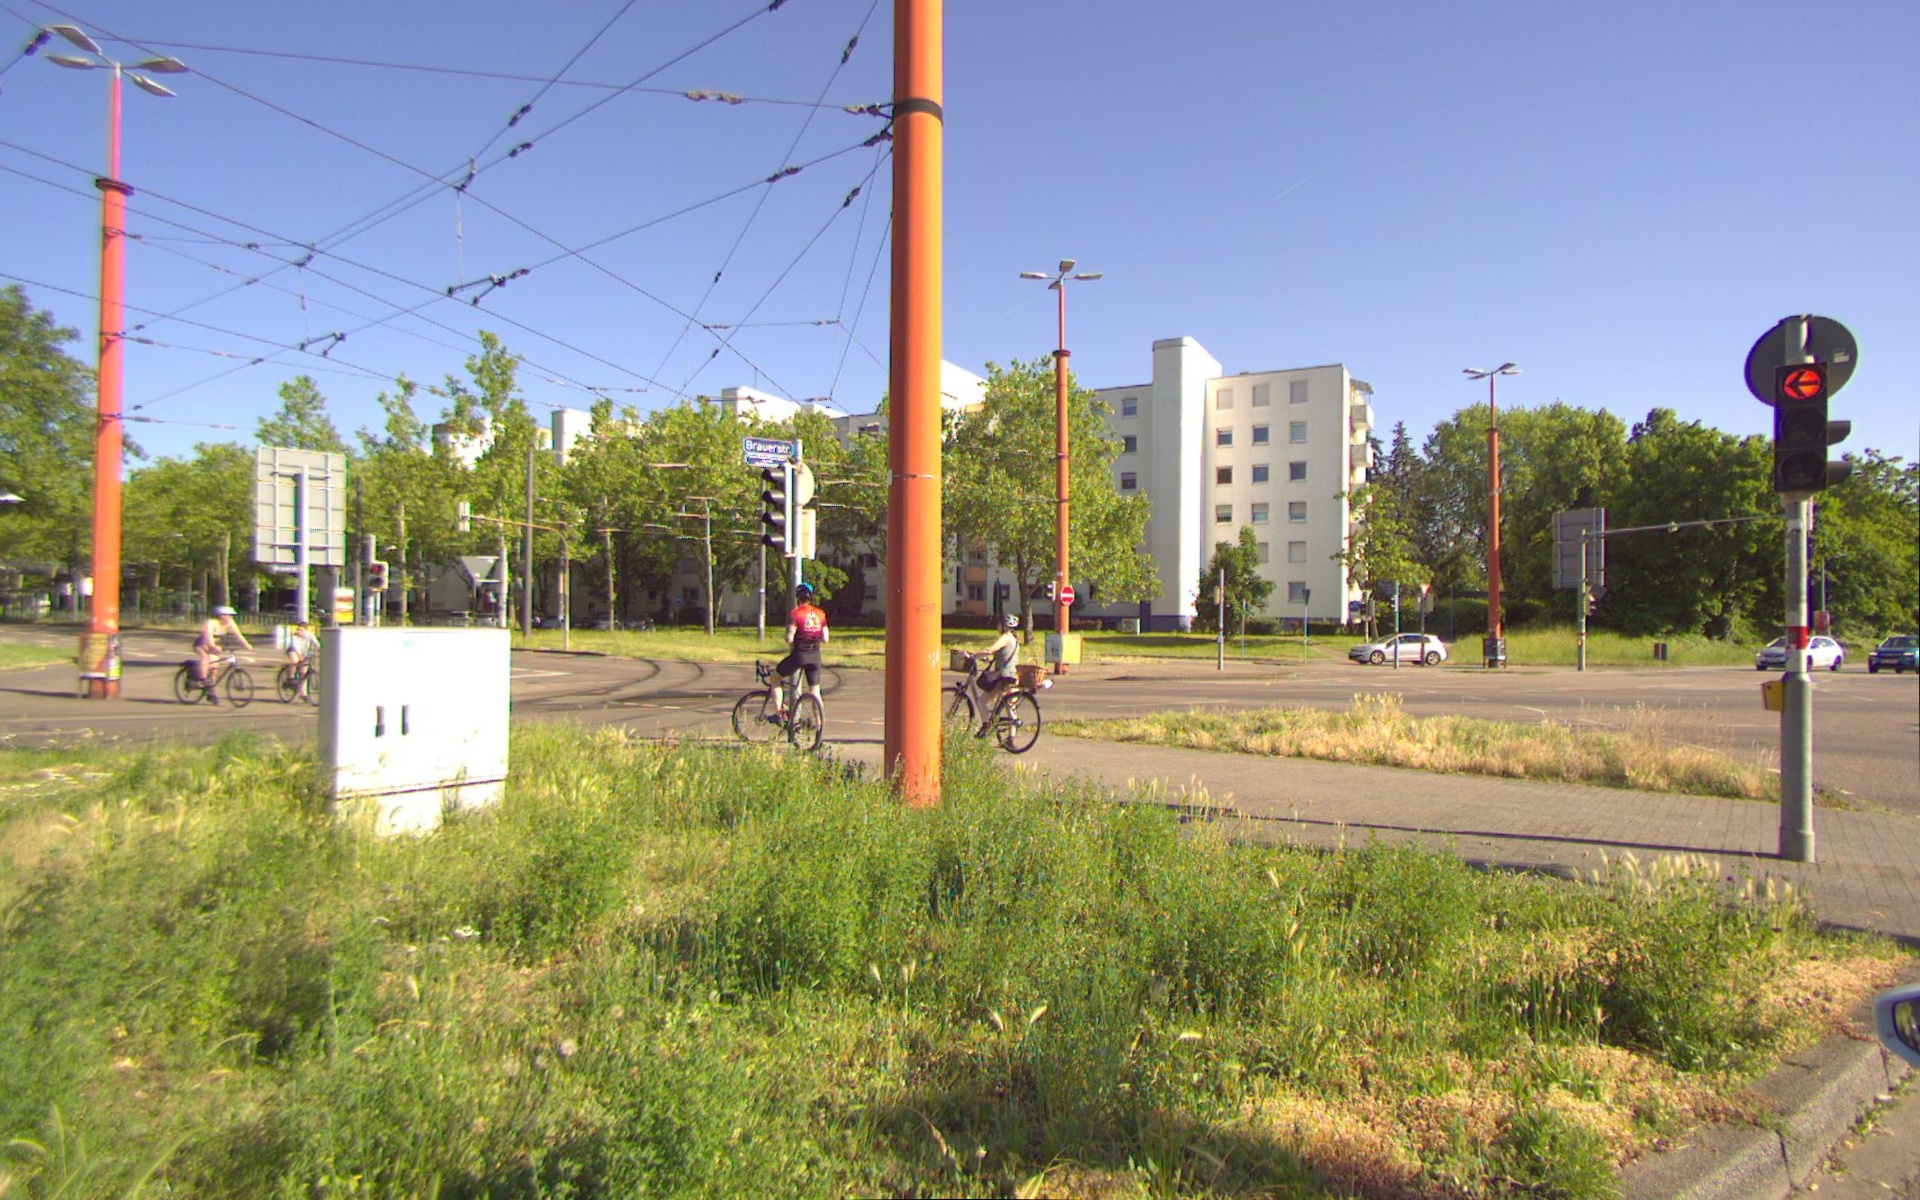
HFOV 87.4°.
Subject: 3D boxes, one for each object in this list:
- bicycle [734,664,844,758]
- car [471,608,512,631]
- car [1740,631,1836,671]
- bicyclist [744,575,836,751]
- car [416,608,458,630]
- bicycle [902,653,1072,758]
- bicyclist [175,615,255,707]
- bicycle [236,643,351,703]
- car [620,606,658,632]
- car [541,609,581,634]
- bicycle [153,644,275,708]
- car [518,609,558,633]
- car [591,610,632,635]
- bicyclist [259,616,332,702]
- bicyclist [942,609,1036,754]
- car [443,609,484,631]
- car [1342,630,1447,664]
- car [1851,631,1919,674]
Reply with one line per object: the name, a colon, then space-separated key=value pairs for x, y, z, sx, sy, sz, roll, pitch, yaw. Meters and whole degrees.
bicycle: x=-2.115 y=1.302 z=12.242 sx=0.915 sy=0.976 sz=1.747 roll=1 pitch=-1 yaw=-24
car: x=-39.282 y=1.633 z=84.333 sx=1.963 sy=1.840 sz=3.995 roll=1 pitch=-1 yaw=-8
car: x=35.145 y=2.151 z=42.611 sx=4.075 sy=1.594 sz=1.983 roll=1 pitch=-1 yaw=-32
bicyclist: x=-2.065 y=0.743 z=12.146 sx=0.921 sy=2.040 sz=0.736 roll=1 pitch=-1 yaw=-25
car: x=-46.020 y=1.667 z=88.484 sx=1.963 sy=1.840 sz=3.995 roll=1 pitch=-1 yaw=-8
bicycle: x=0.315 y=1.222 z=12.127 sx=1.855 sy=1.102 sz=0.925 roll=0 pitch=-1 yaw=34
bicyclist: x=-14.001 y=1.127 z=18.904 sx=0.726 sy=1.659 sz=0.934 roll=0 pitch=-1 yaw=18
bicycle: x=-13.251 y=1.436 z=19.987 sx=1.849 sy=1.102 sz=0.928 roll=0 pitch=-1 yaw=18
car: x=-23.401 y=1.393 z=73.424 sx=1.963 sy=1.840 sz=3.995 roll=1 pitch=-1 yaw=-8
car: x=-31.191 y=1.669 z=78.685 sx=1.963 sy=1.840 sz=3.995 roll=1 pitch=-1 yaw=-8
bicycle: x=-14.028 y=1.406 z=18.902 sx=1.849 sy=1.102 sz=0.928 roll=0 pitch=-1 yaw=18
car: x=-33.806 y=1.664 z=80.535 sx=1.963 sy=1.840 sz=3.995 roll=1 pitch=-1 yaw=-8
car: x=-26.108 y=1.680 z=75.336 sx=1.962 sy=1.840 sz=3.997 roll=1 pitch=-1 yaw=-5
bicyclist: x=-13.211 y=1.156 z=19.975 sx=0.726 sy=1.659 sz=0.934 roll=0 pitch=-1 yaw=18
bicyclist: x=0.359 y=0.952 z=12.104 sx=0.728 sy=1.659 sz=0.931 roll=0 pitch=-1 yaw=35
car: x=-42.671 y=1.691 z=86.455 sx=1.963 sy=1.840 sz=3.995 roll=1 pitch=-1 yaw=-8
car: x=20.228 y=2.179 z=46.849 sx=4.139 sy=1.471 sz=1.799 roll=1 pitch=-1 yaw=-2
car: x=37.269 y=2.039 z=39.870 sx=4.079 sy=1.594 sz=1.981 roll=2 pitch=-1 yaw=-35
